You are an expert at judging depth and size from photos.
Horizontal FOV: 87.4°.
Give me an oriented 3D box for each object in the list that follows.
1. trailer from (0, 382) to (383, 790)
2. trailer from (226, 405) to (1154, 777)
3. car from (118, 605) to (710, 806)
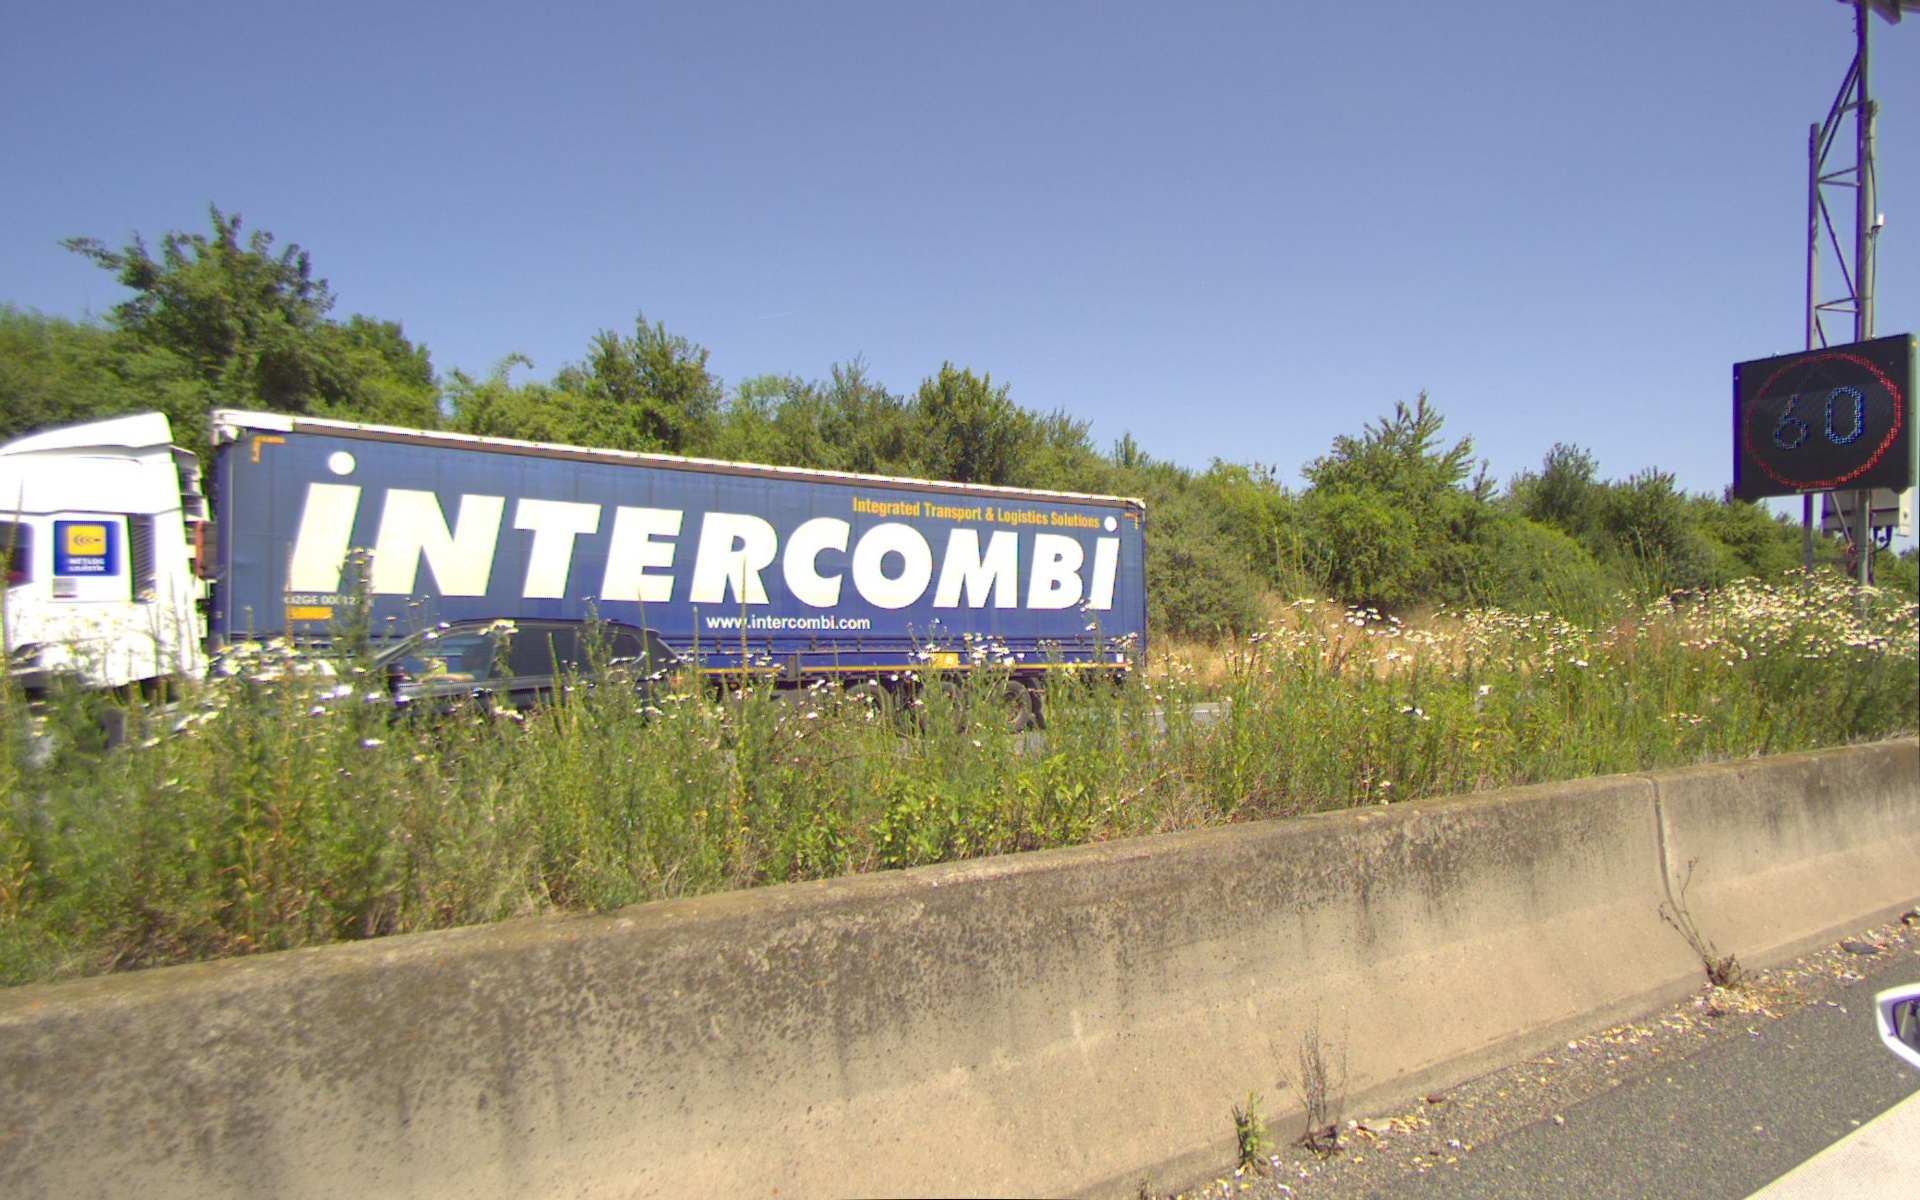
[{"bbox_3d":[-9.868,-0.059,11.692,5.371,4.109,2.947,1,-4,-31],"label":"trailer"},{"bbox_3d":[-3.033,0.112,15.838,13.440,4.109,2.947,1,-4,-31],"label":"trailer"},{"bbox_3d":[-4.730,0.836,9.285,4.414,1.462,1.673,1,0,-30],"label":"car"}]
